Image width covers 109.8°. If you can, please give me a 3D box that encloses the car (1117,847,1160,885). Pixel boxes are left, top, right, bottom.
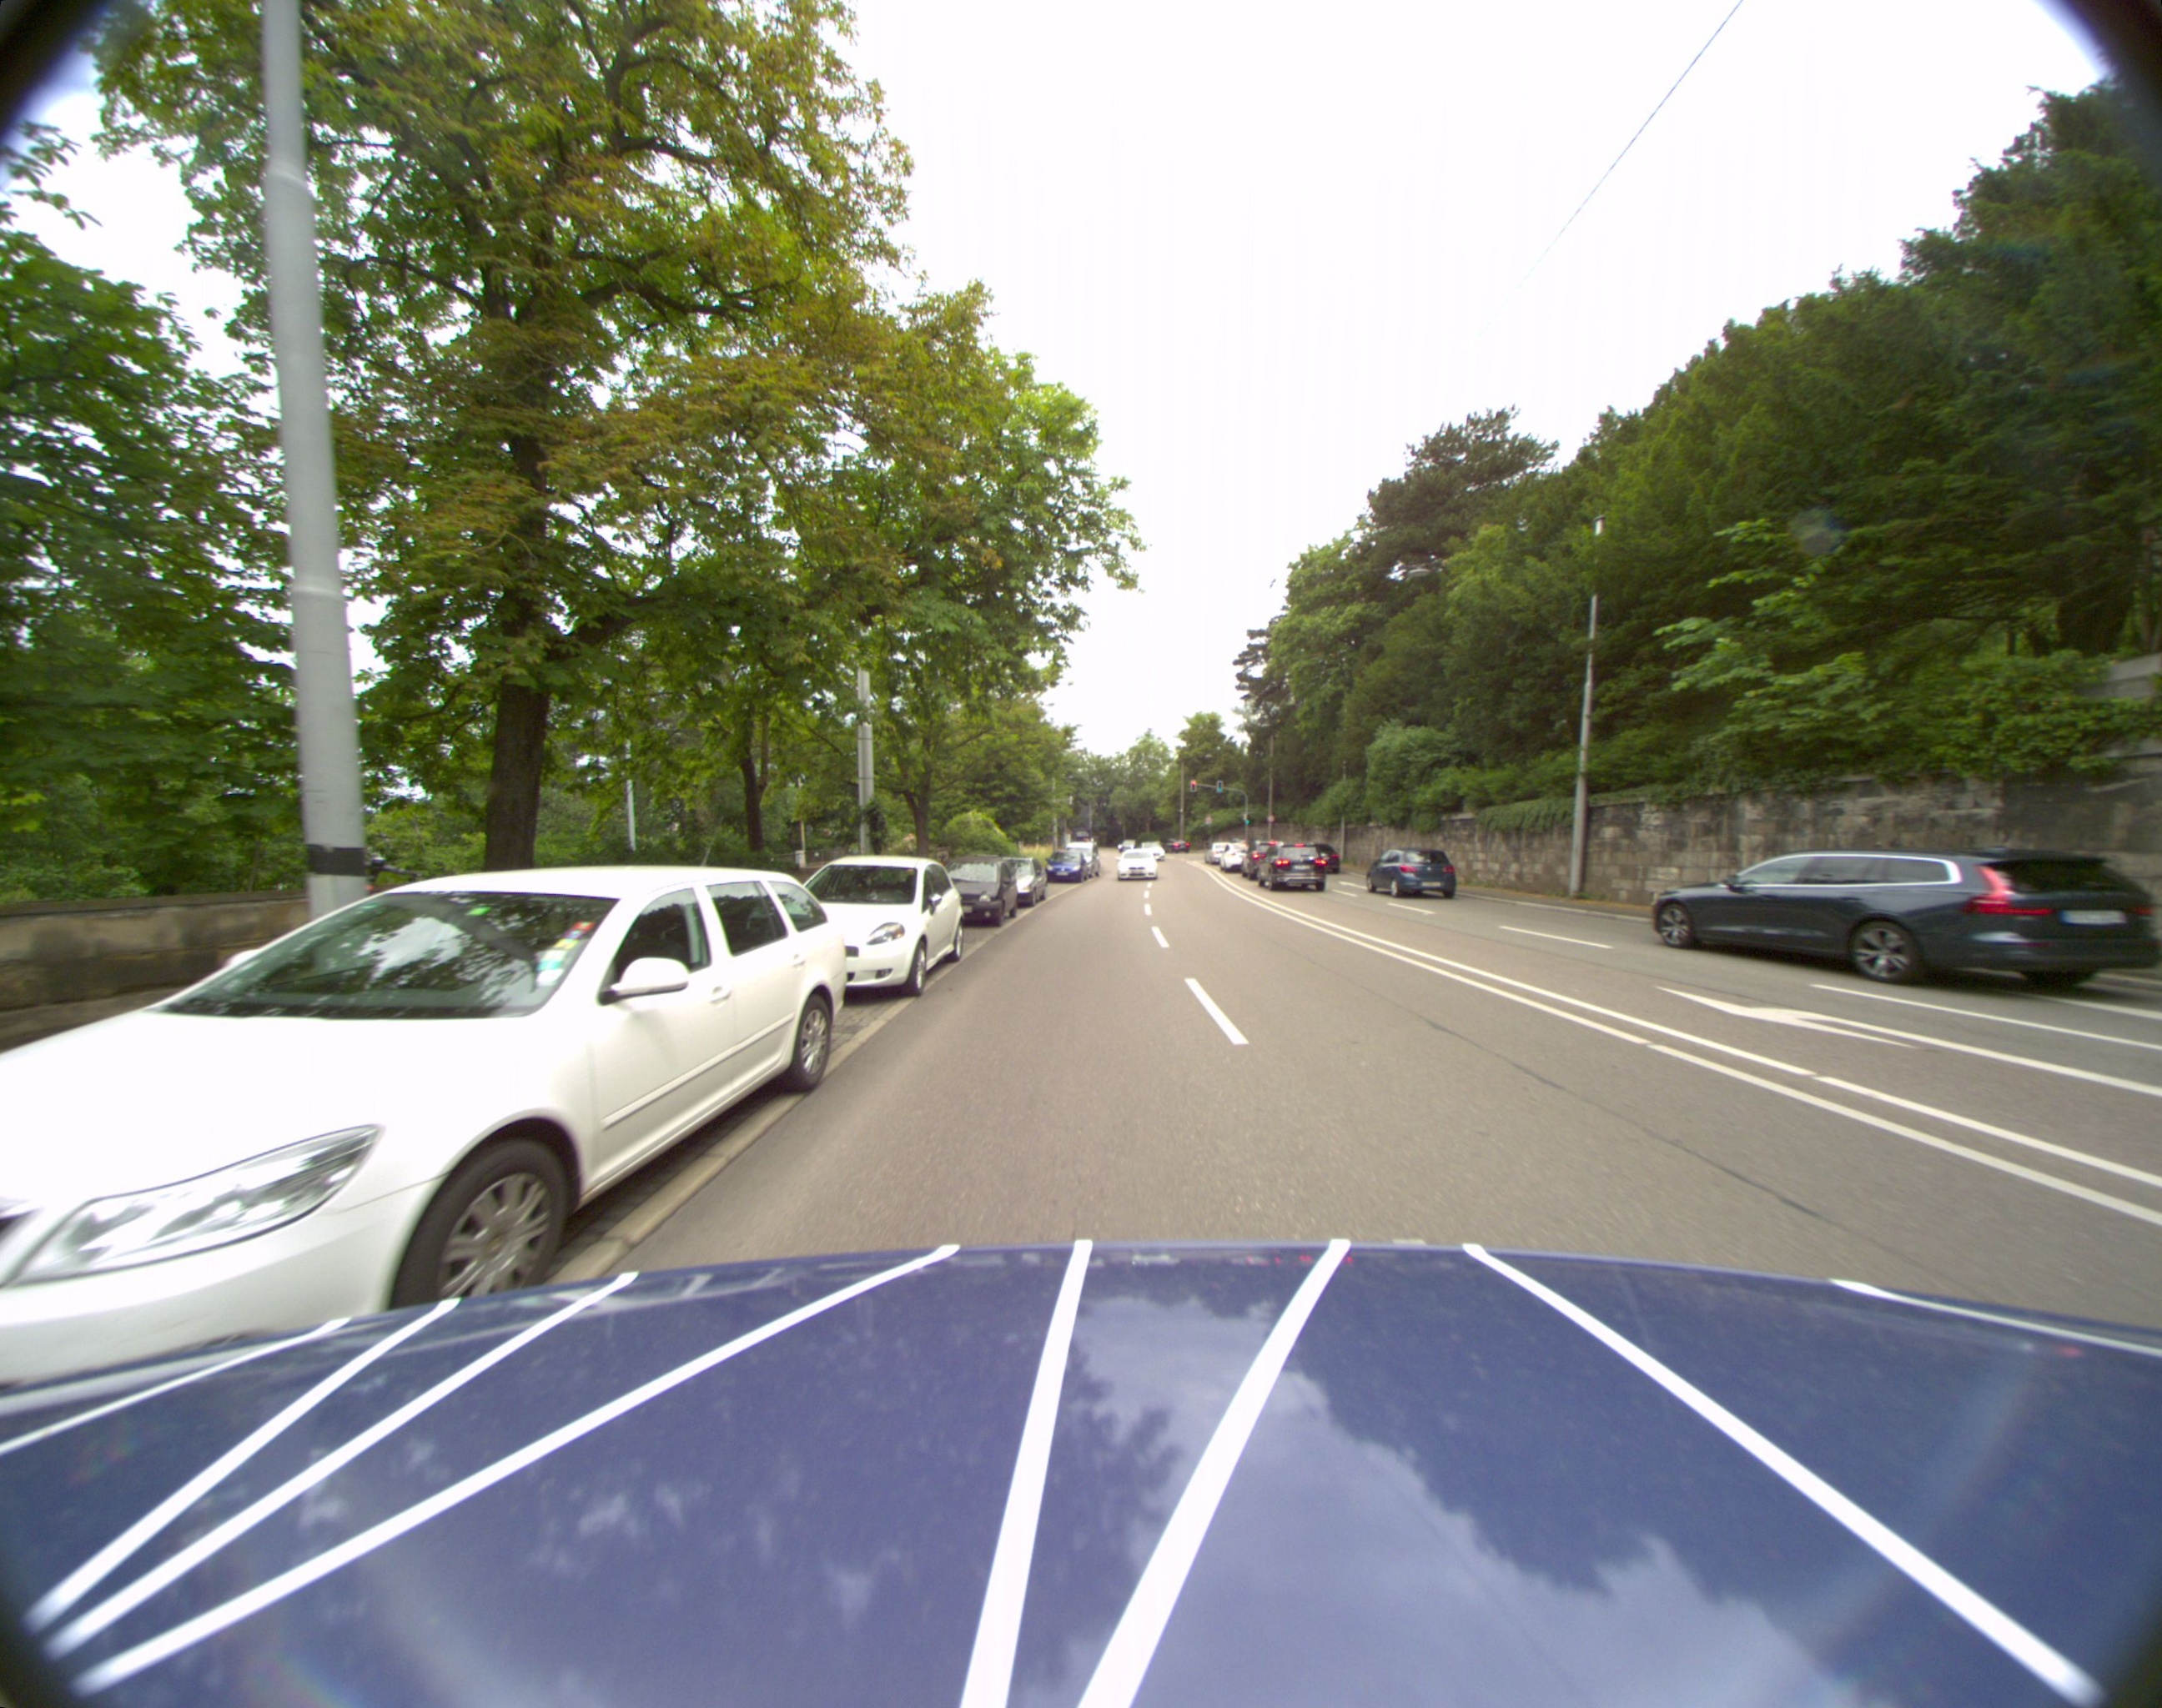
[{"bbox_3d":[2.744,0.529,37.107,1.822,1.463,4.783,-3,2,2],"label":"car"}]

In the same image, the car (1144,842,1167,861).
[{"bbox_3d":[6.019,-0.213,61.149,1.802,1.382,3.528,-1,1,6],"label":"car"}]

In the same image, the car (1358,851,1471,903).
[{"bbox_3d":[10.066,0.646,23.282,1.847,1.428,4.000,0,0,2],"label":"car"}]

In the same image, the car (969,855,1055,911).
[{"bbox_3d":[-1.915,0.768,22.556,1.773,1.391,4.552,0,1,5],"label":"car"}]

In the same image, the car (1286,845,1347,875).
[{"bbox_3d":[11.926,0.258,38.806,2.006,1.401,4.756,0,1,5],"label":"car"}]

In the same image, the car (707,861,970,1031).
[{"bbox_3d":[-2.525,0.868,9.002,1.719,1.463,4.038,2,0,1],"label":"car"}]

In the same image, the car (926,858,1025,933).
[{"bbox_3d":[-2.259,0.849,17.071,1.565,1.414,3.424,2,1,3],"label":"car"}]

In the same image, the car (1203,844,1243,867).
[{"bbox_3d":[9.729,0.058,52.351,1.998,1.461,4.877,0,1,2],"label":"car"}]

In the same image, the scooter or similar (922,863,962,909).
[{"bbox_3d":[-4.175,0.942,22.905,0.562,1.237,2.000,4,2,6],"label":"scooter or similar"}]

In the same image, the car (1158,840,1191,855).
[{"bbox_3d":[9.291,-0.679,76.053,1.637,1.426,3.951,-2,1,-20],"label":"car"}]

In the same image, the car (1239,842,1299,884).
[{"bbox_3d":[8.399,0.348,34.400,1.964,1.740,4.879,0,1,6],"label":"car"}]

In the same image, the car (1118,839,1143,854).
[{"bbox_3d":[6.018,-0.850,92.113,1.955,1.730,4.006,-1,0,21],"label":"car"}]

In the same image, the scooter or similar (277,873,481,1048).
[{"bbox_3d":[-5.694,0.807,6.243,0.518,1.253,1.169,2,1,5],"label":"scooter or similar"}]

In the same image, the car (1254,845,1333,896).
[{"bbox_3d":[7.436,0.506,27.024,1.852,1.642,4.625,0,1,5],"label":"car"}]

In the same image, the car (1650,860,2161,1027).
[{"bbox_3d":[9.242,0.804,8.928,1.847,1.401,4.455,0,1,1],"label":"car"}]

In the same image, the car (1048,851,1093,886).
[{"bbox_3d":[-0.441,0.621,35.365,1.600,1.451,3.943,0,1,6],"label":"car"}]

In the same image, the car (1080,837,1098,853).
[{"bbox_3d":[0.976,-1.007,87.251,1.958,1.761,4.000,-1,0,2],"label":"car"}]

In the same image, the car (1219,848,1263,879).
[{"bbox_3d":[8.759,0.468,41.915,1.841,1.545,4.790,-1,1,5],"label":"car"}]

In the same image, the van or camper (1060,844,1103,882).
[{"bbox_3d":[0.106,0.424,40.354,1.702,1.834,4.244,-1,1,8],"label":"van or camper"}]

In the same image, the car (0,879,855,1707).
[{"bbox_3d":[-2.587,0.936,3.477,1.679,1.453,4.366,1,0,2],"label":"car"}]
